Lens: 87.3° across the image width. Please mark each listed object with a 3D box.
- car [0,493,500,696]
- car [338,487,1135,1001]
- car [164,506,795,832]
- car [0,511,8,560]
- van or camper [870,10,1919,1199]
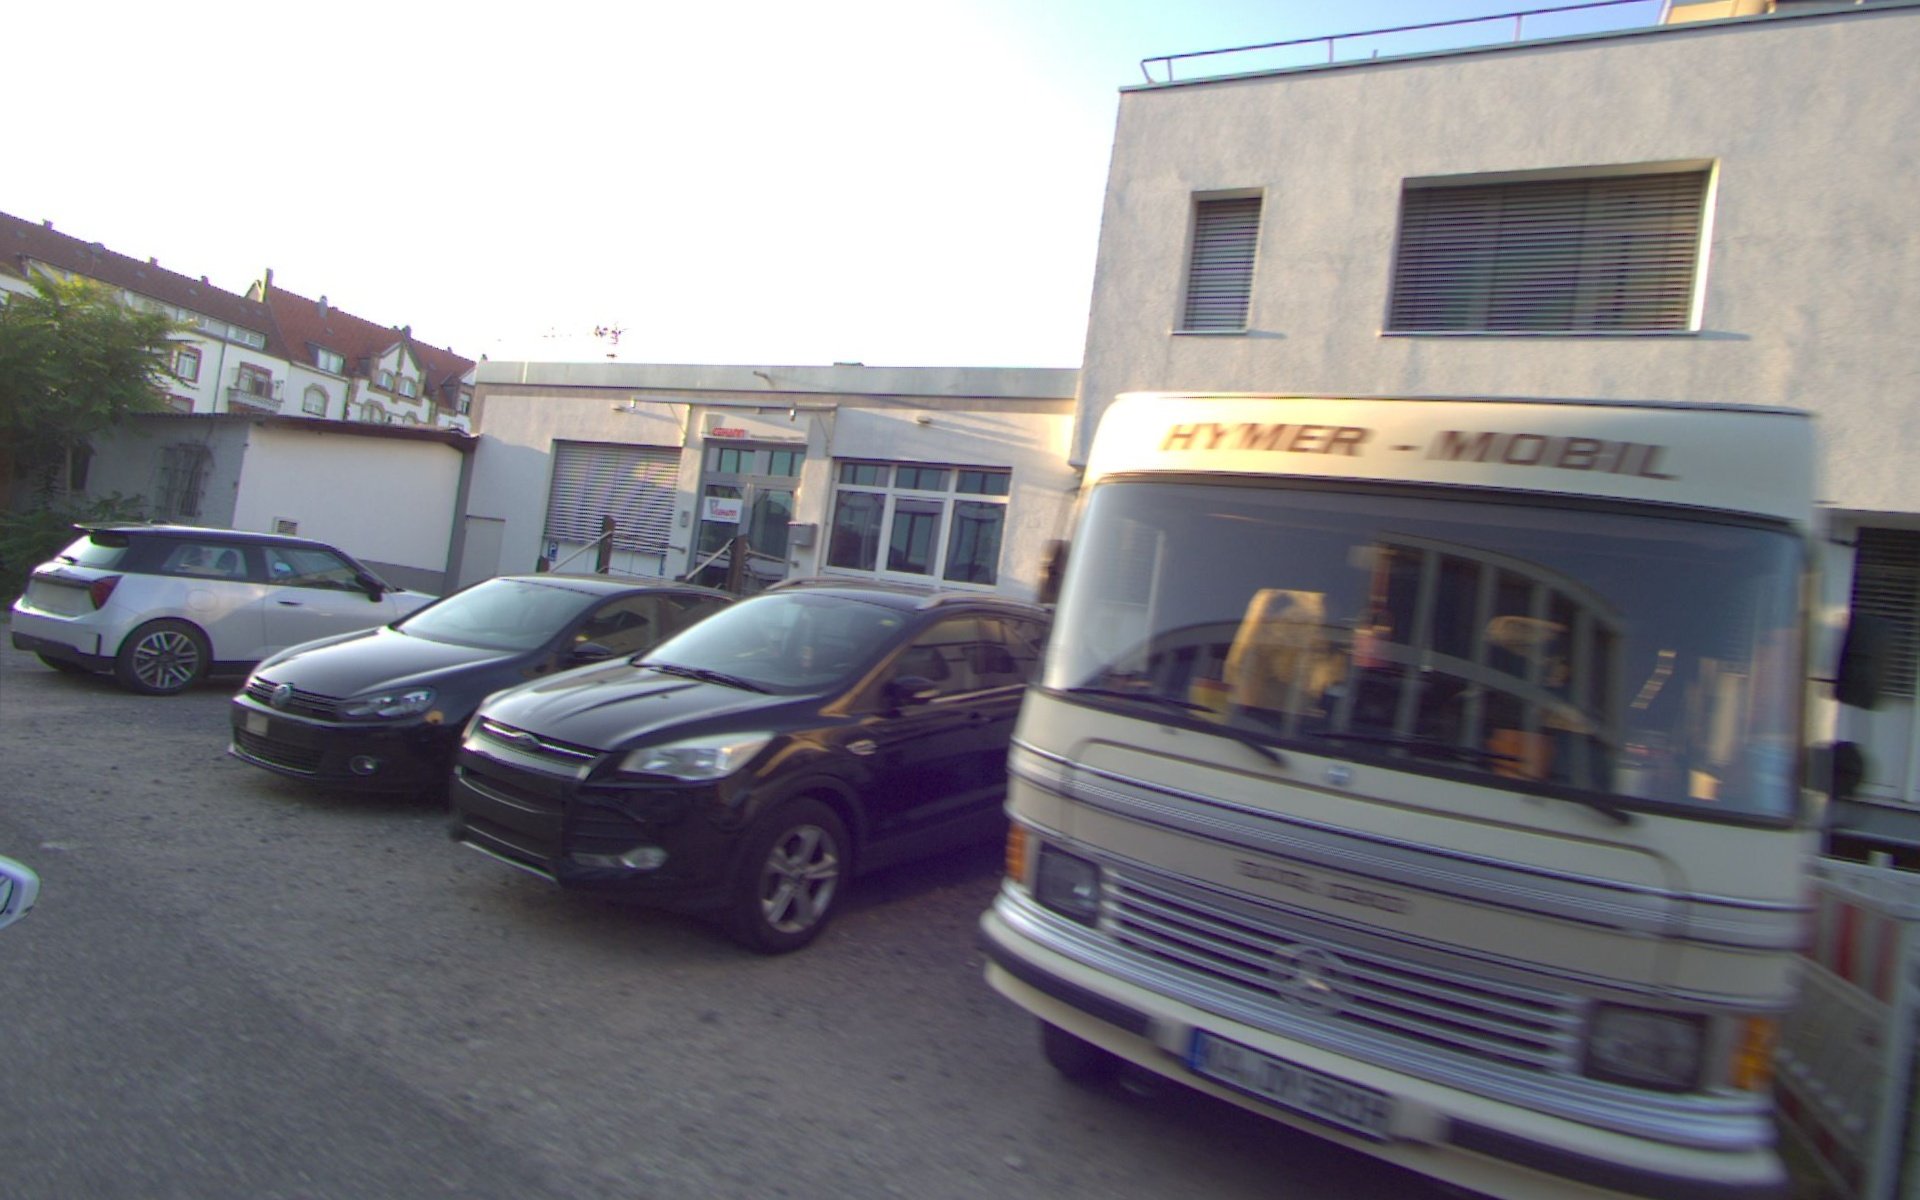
[{"bbox_3d":[-6.815,0.071,9.976,1.682,1.496,3.715,7,-2,28],"label":"car"},{"bbox_3d":[-0.806,0.652,5.862,1.936,1.761,4.247,7,-2,33],"label":"car"},{"bbox_3d":[-3.075,0.489,7.465,1.680,1.582,4.019,7,-1,22],"label":"car"},{"bbox_3d":[-15.777,-0.956,13.319,1.793,1.382,4.213,7,-4,33],"label":"car"},{"bbox_3d":[2.381,0.476,4.896,2.445,2.897,5.792,7,-2,30],"label":"van or camper"}]
